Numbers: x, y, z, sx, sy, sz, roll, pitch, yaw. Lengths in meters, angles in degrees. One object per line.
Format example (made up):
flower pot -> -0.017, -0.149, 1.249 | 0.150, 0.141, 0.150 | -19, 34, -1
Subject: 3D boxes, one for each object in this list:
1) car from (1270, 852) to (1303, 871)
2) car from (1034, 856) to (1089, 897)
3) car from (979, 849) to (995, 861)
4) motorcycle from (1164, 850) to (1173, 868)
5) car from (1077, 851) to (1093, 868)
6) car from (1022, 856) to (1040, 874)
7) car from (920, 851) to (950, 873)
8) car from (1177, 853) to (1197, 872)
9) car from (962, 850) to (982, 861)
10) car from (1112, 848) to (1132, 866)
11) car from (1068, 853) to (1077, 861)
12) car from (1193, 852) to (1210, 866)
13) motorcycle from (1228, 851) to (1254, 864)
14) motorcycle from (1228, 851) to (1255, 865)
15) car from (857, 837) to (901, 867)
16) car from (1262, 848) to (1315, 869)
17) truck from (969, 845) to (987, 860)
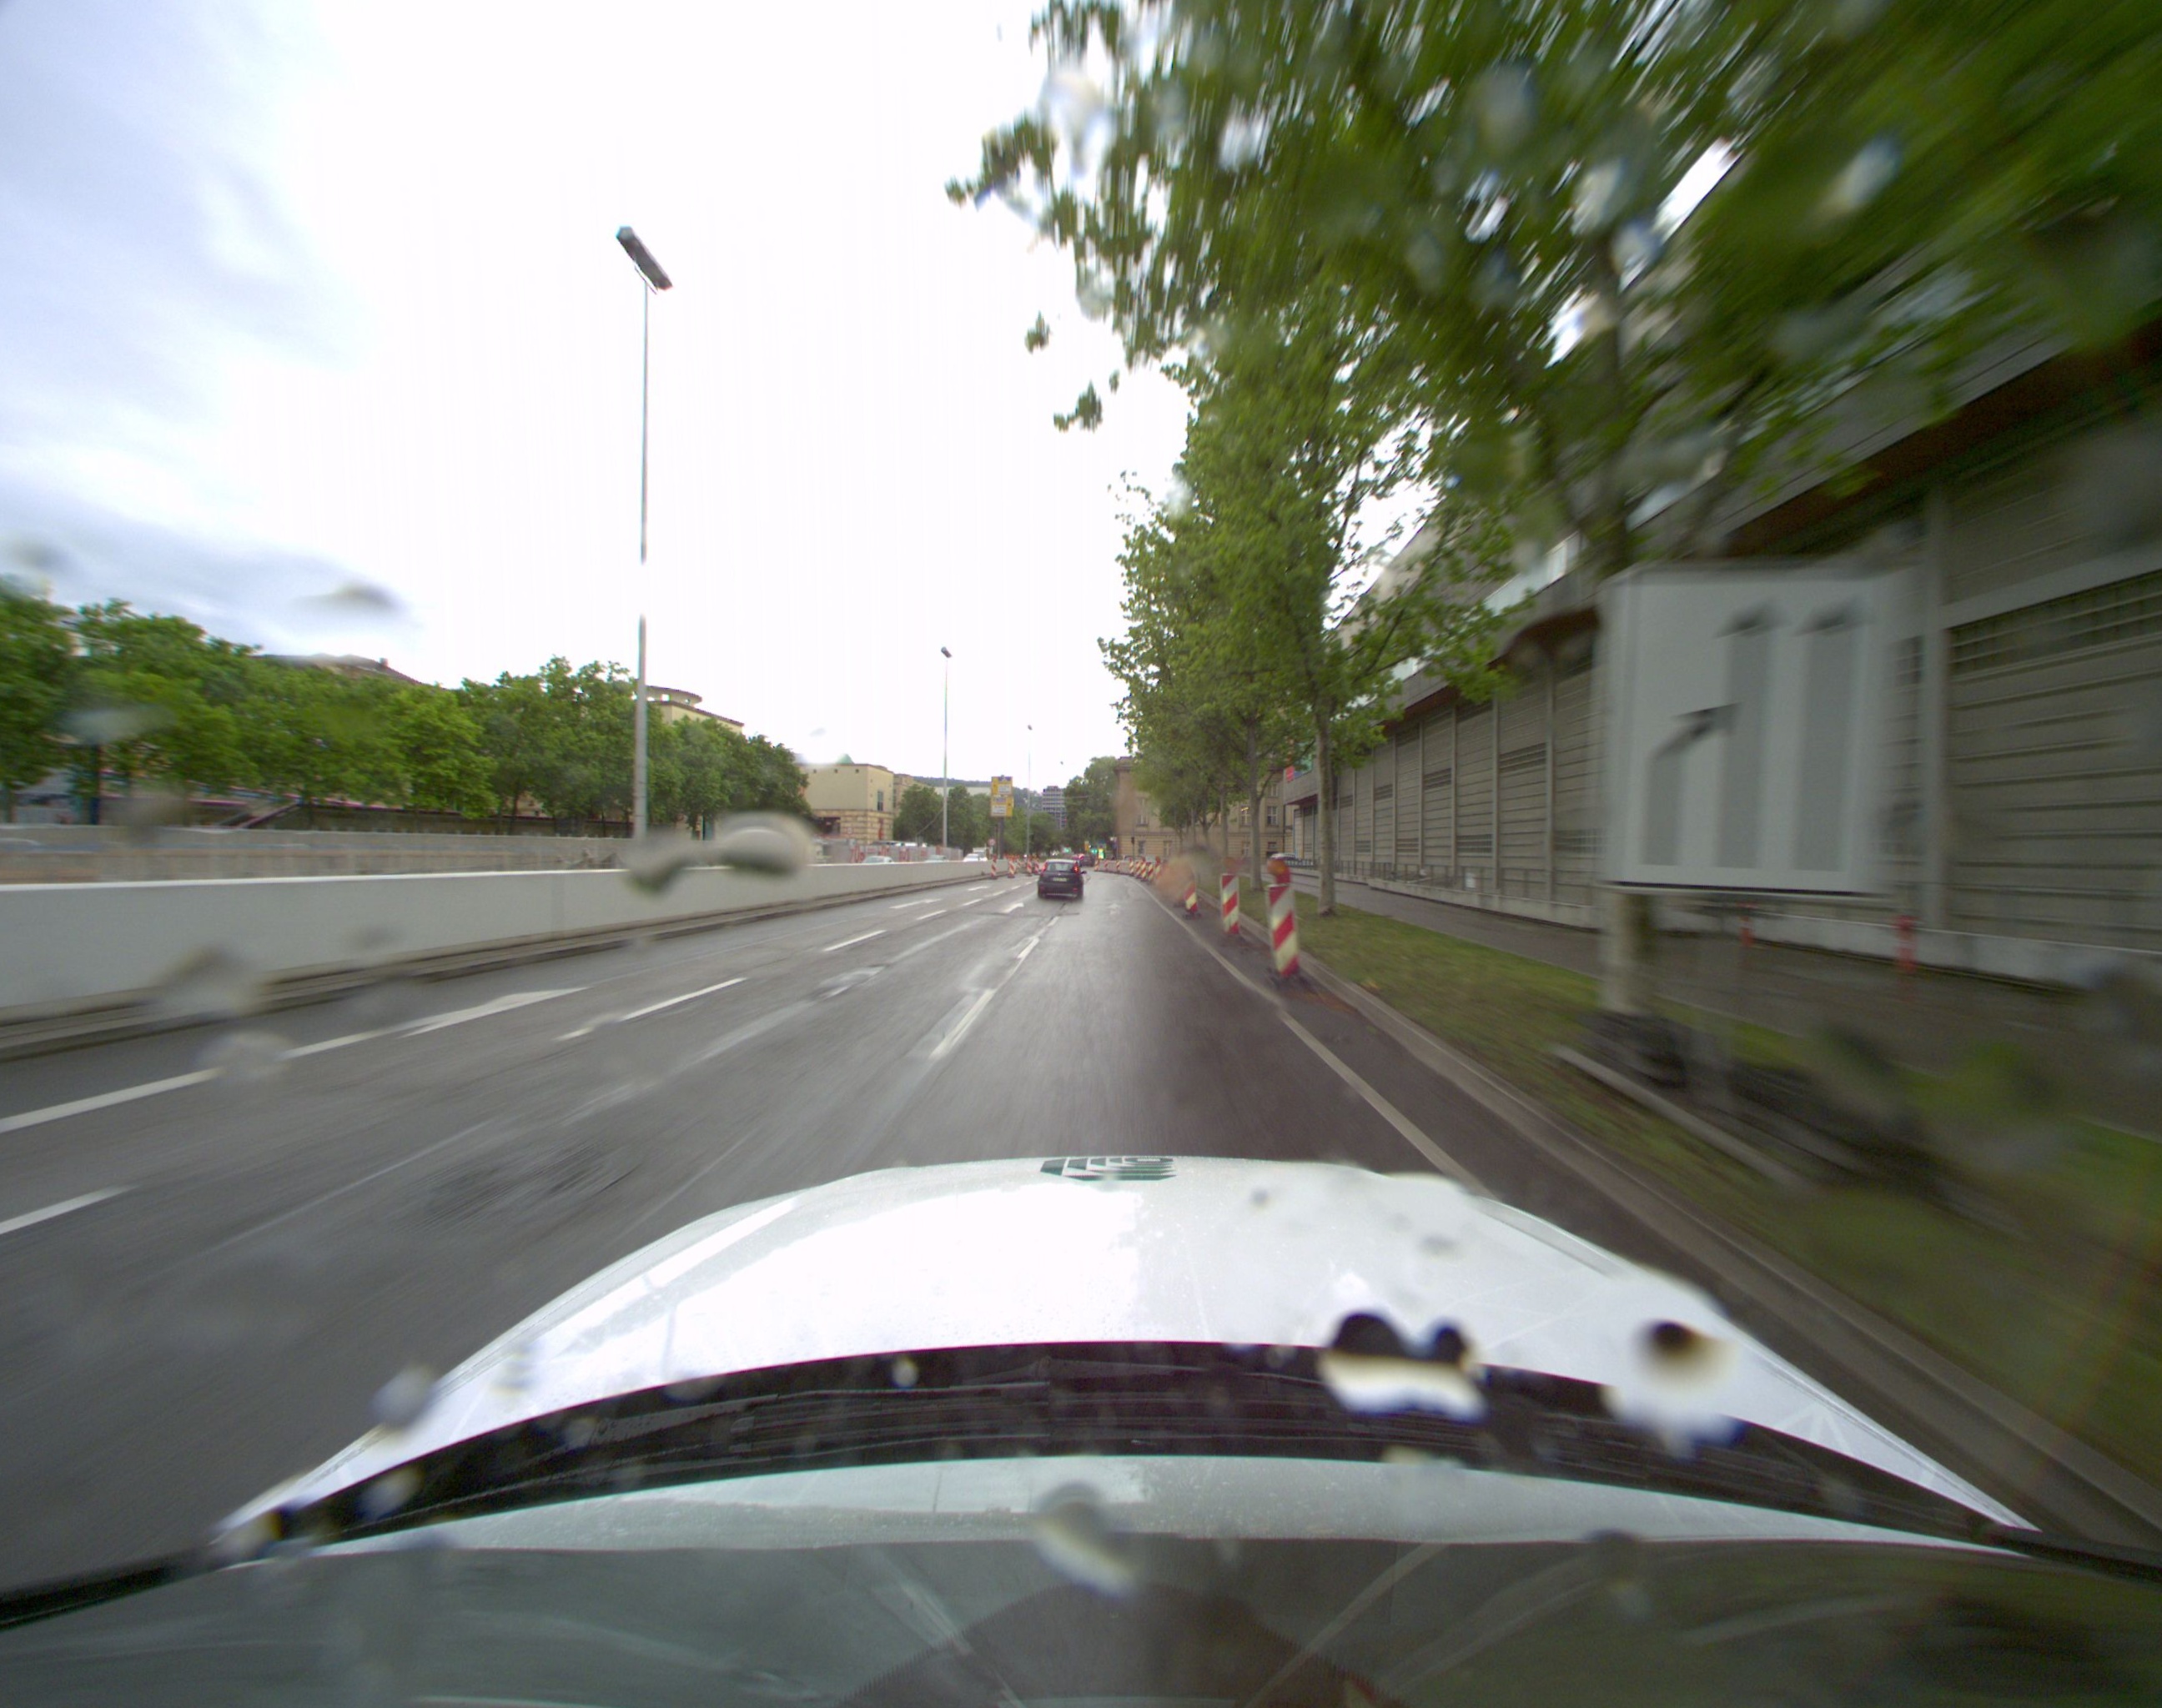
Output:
car -> 19.103, 0.741, 75.868 | 1.985, 1.760, 5.099 | 0, -1, 3
car -> -0.681, 0.827, 31.256 | 1.662, 1.427, 3.762 | 2, 0, 5
car -> -12.740, 0.127, 110.763 | 1.662, 1.521, 4.001 | 2, 2, 1
motorcycle -> 8.953, 0.476, 83.304 | 0.826, 1.830, 3.148 | 0, 0, 6
car -> 0.577, 0.728, 107.475 | 1.986, 2.013, 4.002 | 2, 1, 2
car -> -3.881, 0.840, 63.455 | 1.382, 1.386, 3.064 | 0, 0, -2
car -> -13.838, 0.740, 77.253 | 1.986, 2.013, 4.001 | 2, 0, 1
car -> 10.752, 0.835, 82.855 | 1.983, 1.708, 4.008 | 2, 1, 7
car -> -12.564, 0.184, 94.070 | 1.620, 1.195, 3.406 | 2, 0, 2
car -> 4.184, 0.326, 83.906 | 1.986, 1.708, 4.002 | 2, 1, 2
car -> -2.141, 0.762, 209.399 | 1.989, 2.014, 3.995 | 2, -1, -3
car -> 15.429, 0.660, 104.167 | 1.983, 1.709, 4.007 | 2, -1, 7
motorcycle -> 20.008, 0.456, 101.805 | 3.145, 1.543, 0.891 | 2, -2, 6
motorcycle -> 19.895, 0.466, 100.781 | 3.146, 1.543, 0.891 | 2, -2, 5
car -> -14.743, -0.143, 59.641 | 1.986, 2.013, 4.001 | 2, 0, 1
car -> 17.311, 0.404, 67.974 | 3.971, 1.560, 1.934 | -1, -3, 2
truck -> -17.714, -0.211, 140.914 | 2.406, 2.339, 5.441 | 2, -1, -1
